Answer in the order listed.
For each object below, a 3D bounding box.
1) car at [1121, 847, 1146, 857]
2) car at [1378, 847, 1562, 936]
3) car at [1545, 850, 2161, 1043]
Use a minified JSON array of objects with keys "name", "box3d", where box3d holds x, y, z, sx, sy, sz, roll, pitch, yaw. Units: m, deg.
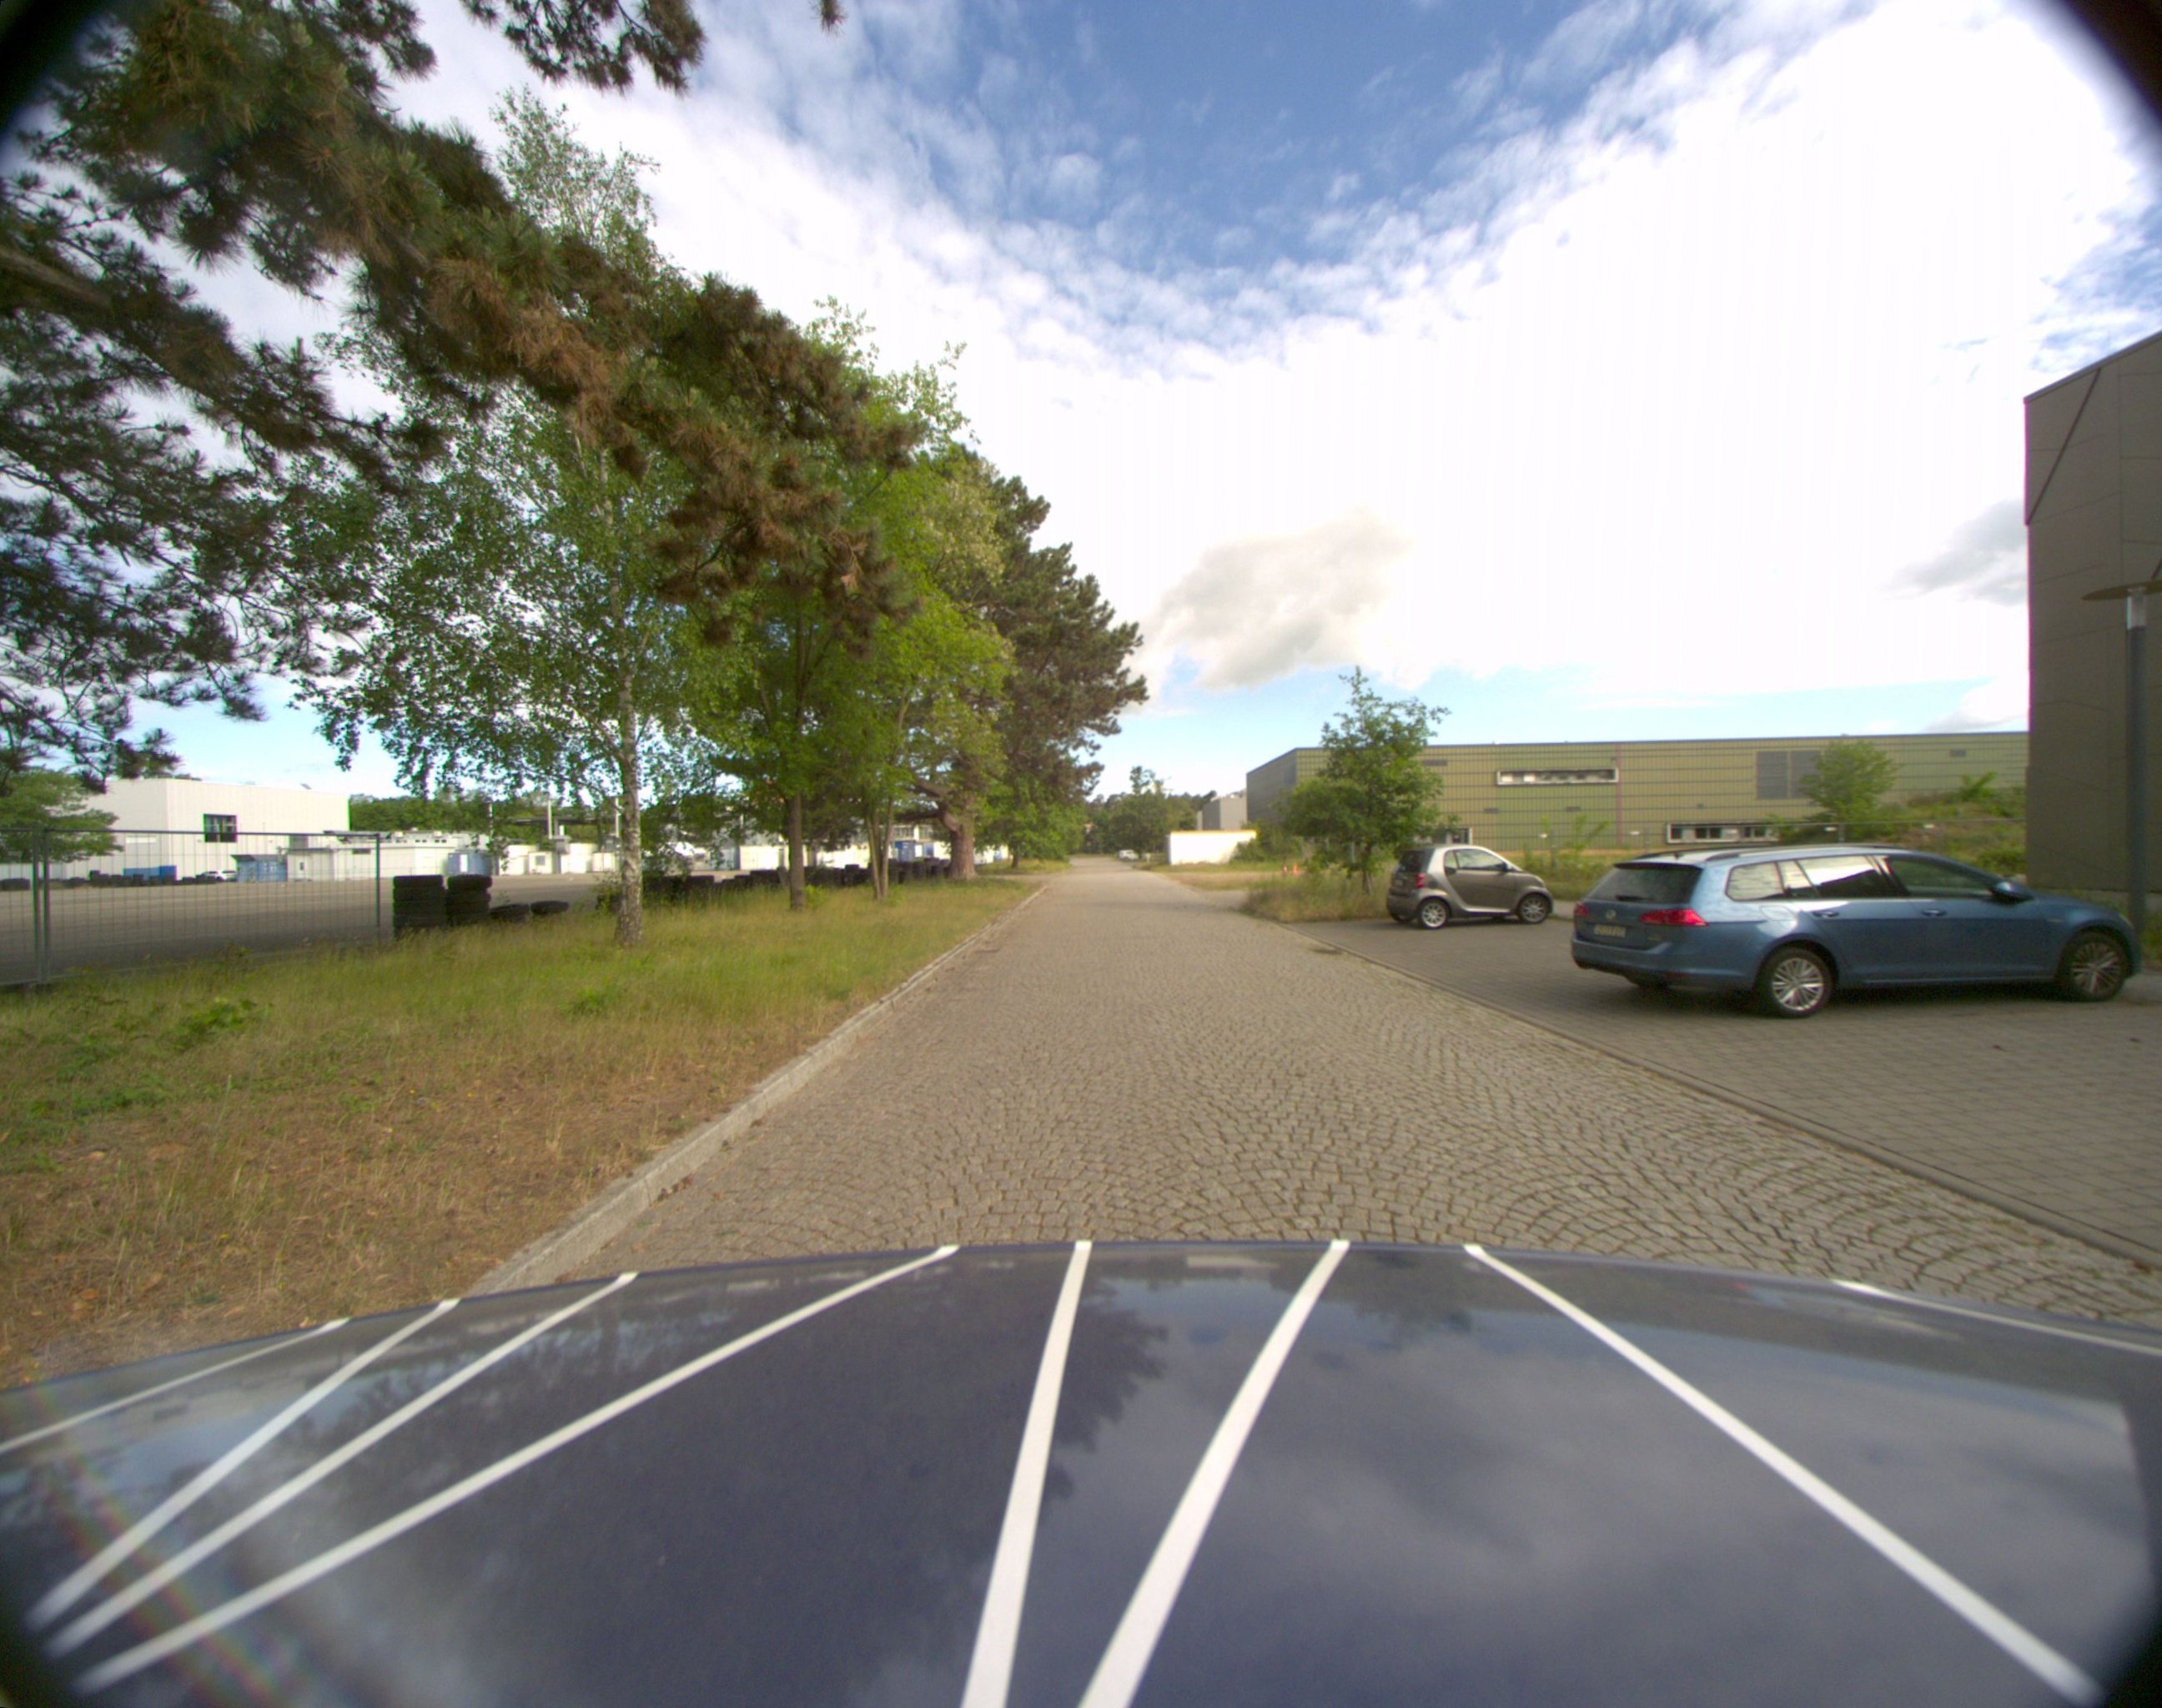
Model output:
[{"name":"car","box3d":[8.458,-0.325,121.820,3.996,1.604,1.797,-1,1,4]},{"name":"car","box3d":[7.387,0.680,14.609,2.661,1.502,1.610,-3,1,0]},{"name":"car","box3d":[7.171,0.771,7.322,4.317,1.420,1.773,-3,1,-2]}]
